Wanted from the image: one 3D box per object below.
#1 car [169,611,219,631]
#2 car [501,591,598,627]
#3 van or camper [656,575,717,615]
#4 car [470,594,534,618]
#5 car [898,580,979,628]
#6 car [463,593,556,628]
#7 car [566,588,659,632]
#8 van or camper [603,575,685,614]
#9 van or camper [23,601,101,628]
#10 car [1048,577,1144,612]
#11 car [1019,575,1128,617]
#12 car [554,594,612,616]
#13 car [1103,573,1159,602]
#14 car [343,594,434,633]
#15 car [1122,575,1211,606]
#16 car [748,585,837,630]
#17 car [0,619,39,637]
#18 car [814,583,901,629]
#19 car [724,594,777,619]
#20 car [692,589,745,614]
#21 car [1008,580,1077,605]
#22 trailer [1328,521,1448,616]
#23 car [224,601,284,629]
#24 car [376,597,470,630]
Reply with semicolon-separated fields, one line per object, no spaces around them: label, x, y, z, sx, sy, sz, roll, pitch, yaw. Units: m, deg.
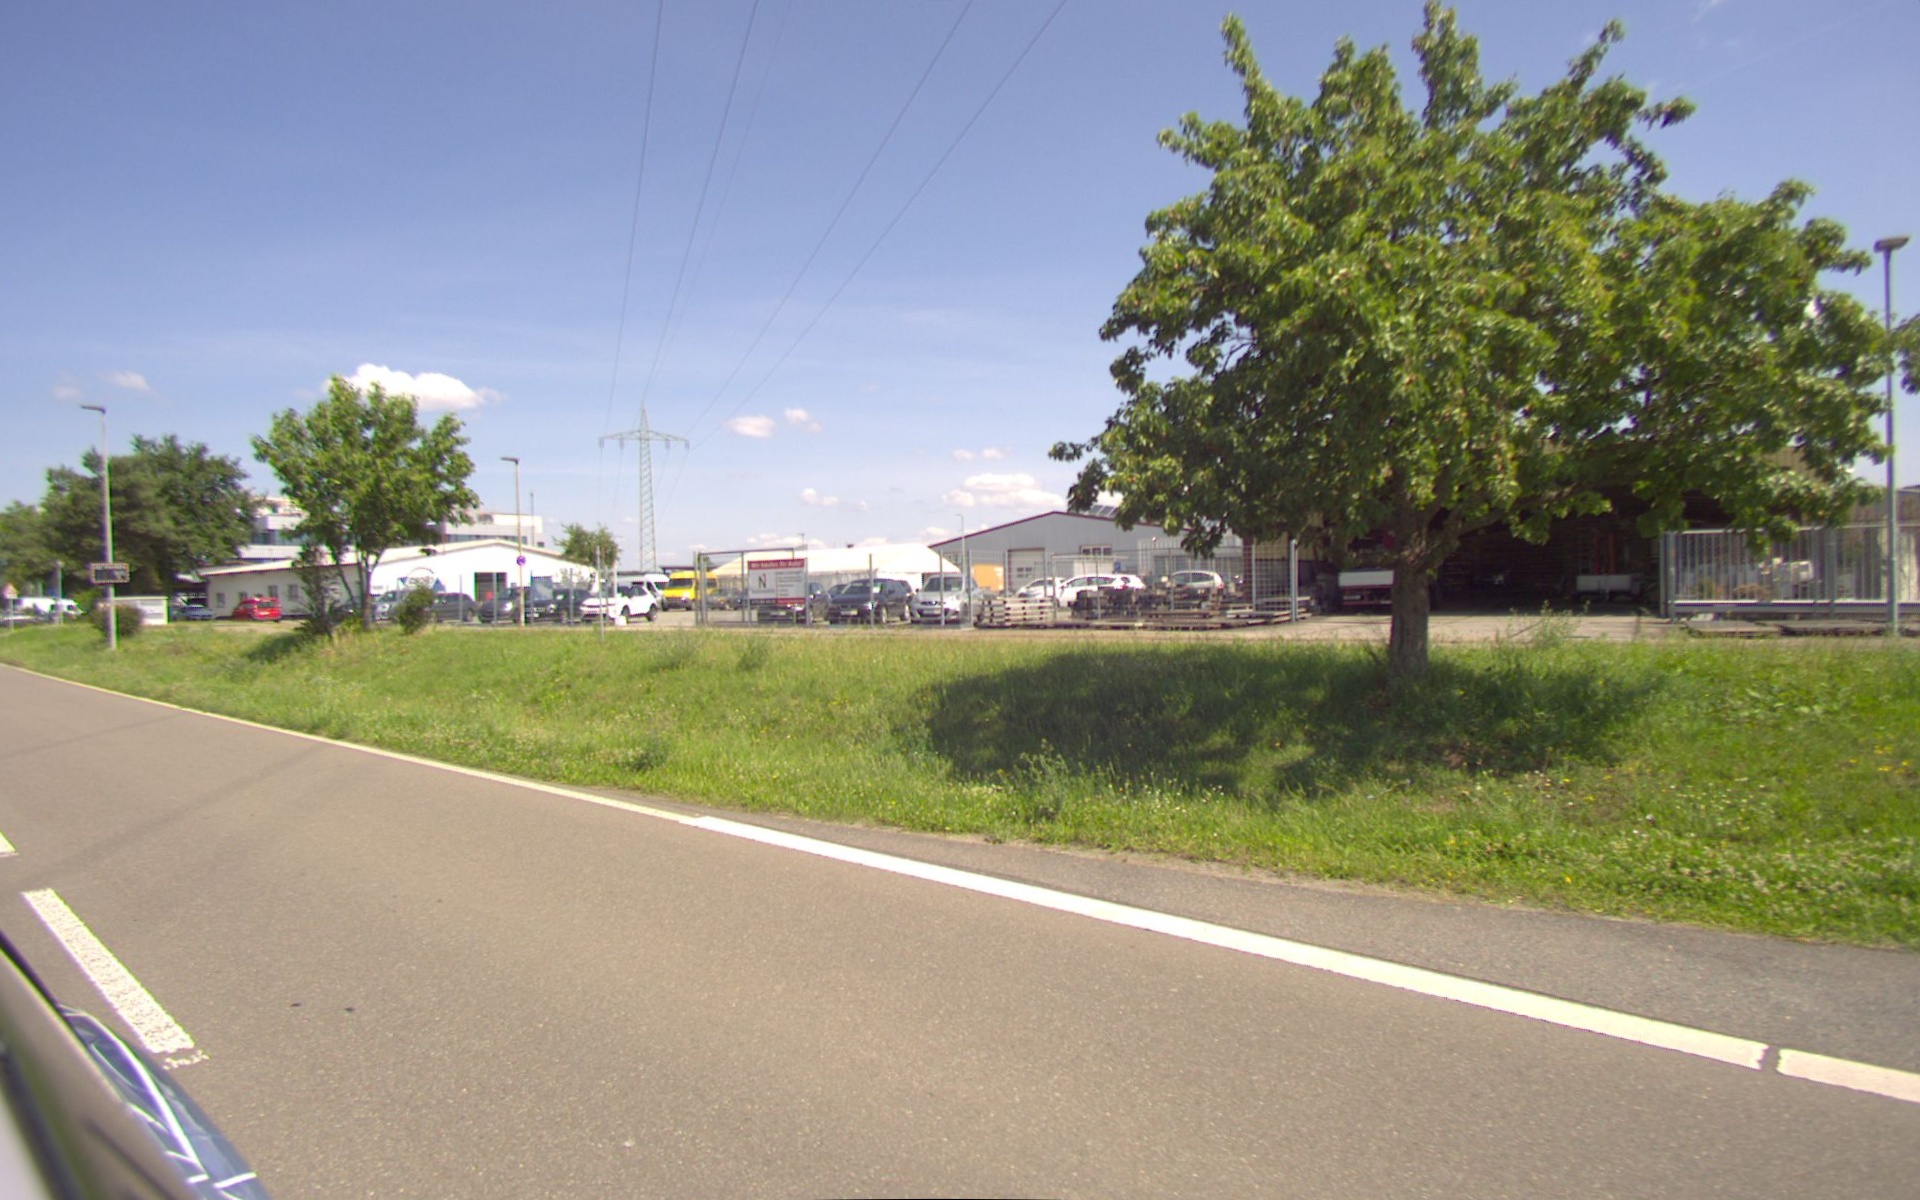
car;-58.947;1.636;77.880;4.511;1.418;1.974;-1;1;39
car;-16.799;0.326;41.674;1.920;1.320;3.990;-2;1;9
van or camper;-17.294;-0.356;64.262;1.872;2.393;5.330;-2;1;7
car;-30.502;0.424;67.426;3.985;1.444;1.906;-2;1;31
car;-0.580;0.082;31.072;1.919;1.320;3.992;-2;1;7
car;-19.561;0.411;44.107;1.919;1.320;3.992;-2;1;7
car;-13.759;0.373;40.289;1.919;1.552;3.992;-2;1;7
van or camper;-23.034;-0.398;73.598;6.757;2.619;1.976;-1;1;36
van or camper;-91.098;1.447;102.726;5.492;2.516;2.085;-2;1;-27
car;5.842;-0.242;43.697;3.952;1.320;1.840;-2;1;7
car;4.606;-0.178;40.953;4.199;1.497;1.995;-2;1;9
car;-26.645;0.379;71.479;3.992;1.444;1.902;-1;1;36
car;11.105;-0.809;65.650;1.996;1.707;3.951;-1;1;36
car;-27.532;0.615;48.927;1.702;1.717;4.101;-2;1;7
car;9.829;-0.458;48.437;3.952;1.320;1.840;-2;1;7
car;-5.592;0.217;34.337;1.919;1.320;3.992;-2;1;7
car;-86.081;2.564;91.489;2.000;1.530;3.944;-1;1;42
car;-3.173;0.148;32.156;1.919;1.320;3.992;-2;1;7
car;-12.570;0.356;60.954;1.919;1.320;3.992;-2;1;7
car;-14.800;0.071;62.227;1.919;1.320;3.992;-2;1;7
car;5.276;-0.458;64.626;3.985;1.453;1.863;-1;1;31
trailer;14.284;-1.018;33.522;2.733;2.846;5.519;-1;1;33
car;-48.546;1.041;69.553;4.218;1.757;1.977;-1;1;34
car;-25.009;0.600;47.273;1.919;1.320;3.992;-2;1;7
